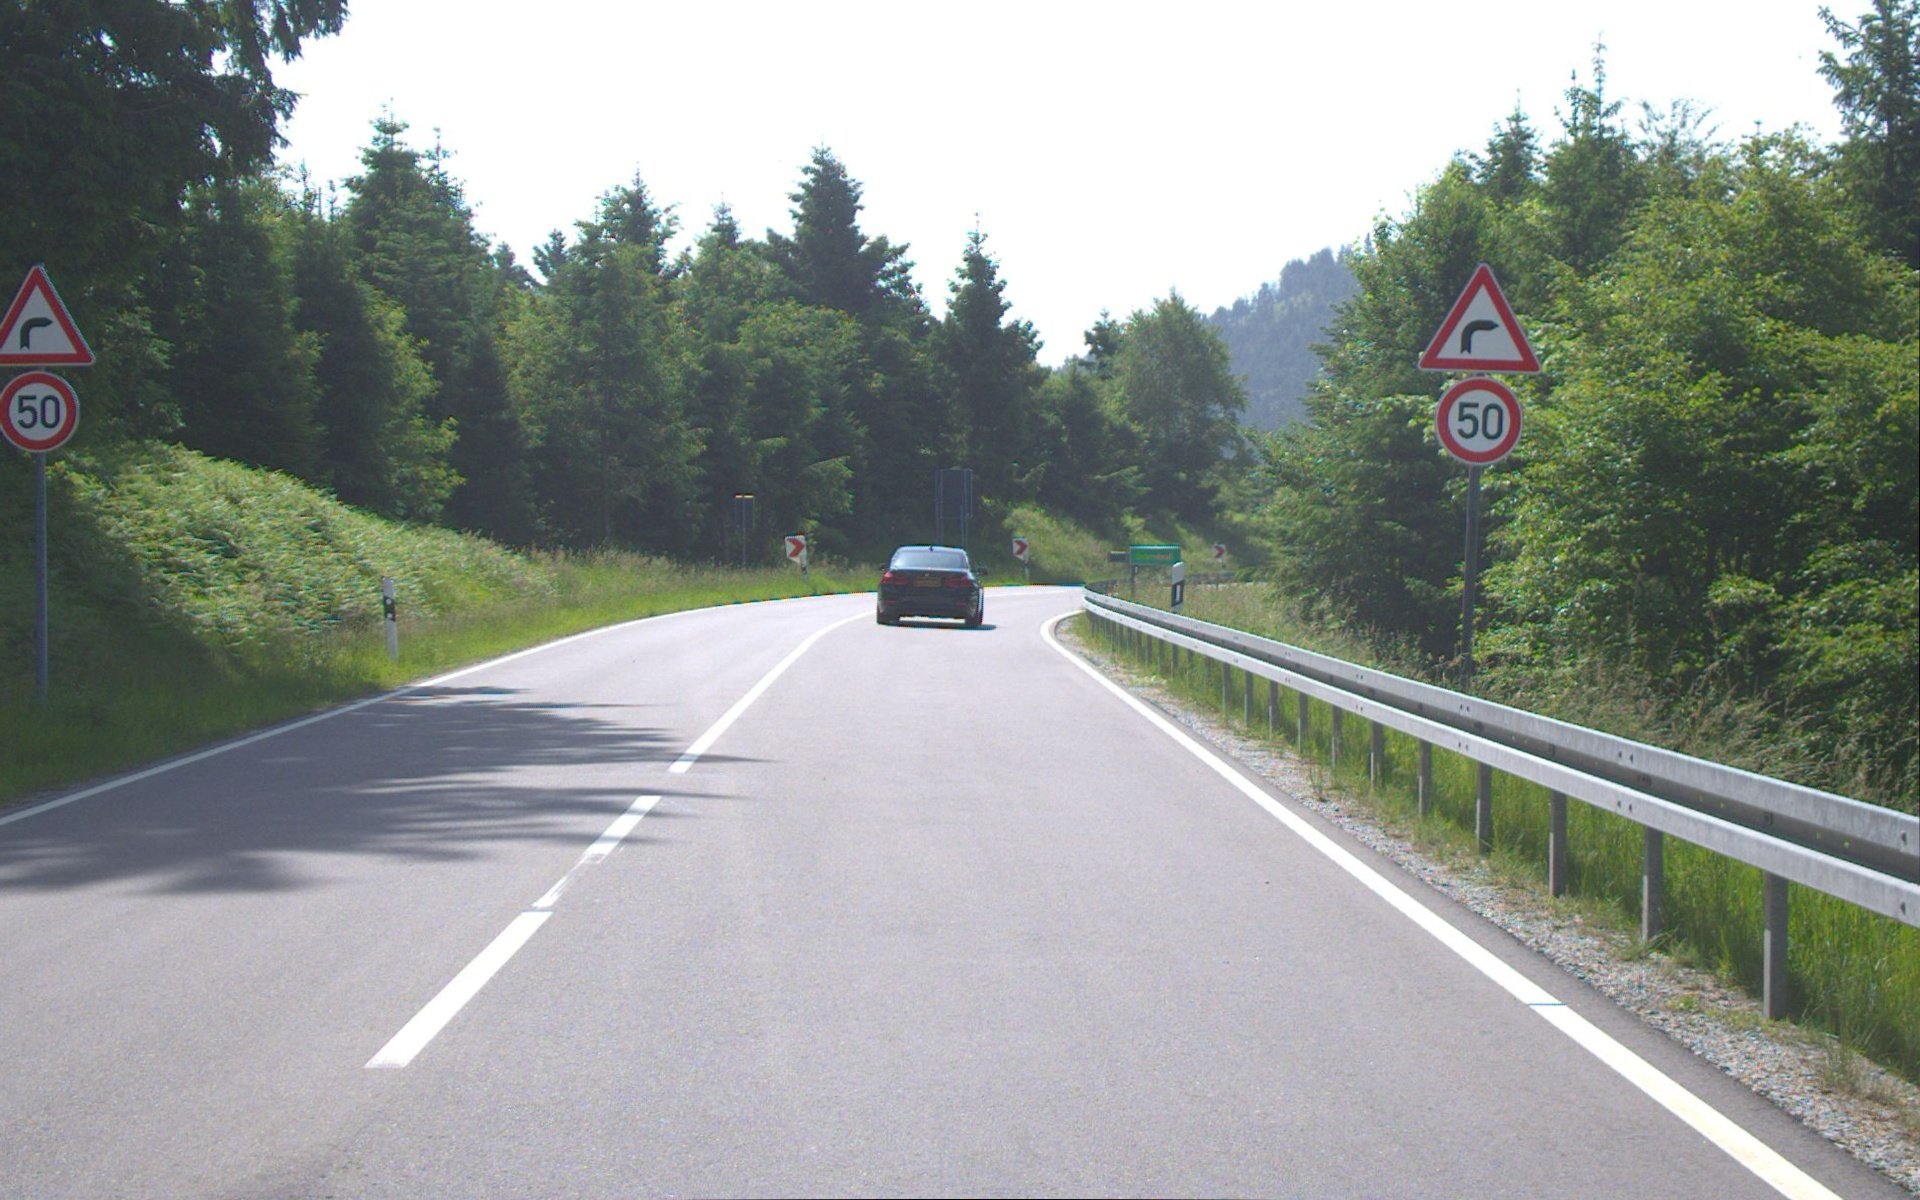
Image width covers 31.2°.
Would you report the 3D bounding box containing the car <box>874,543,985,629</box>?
[{"bbox_3d":[-0.512,-0.273,61.515,1.776,1.437,3.709,2,1,2],"label":"car"}]
